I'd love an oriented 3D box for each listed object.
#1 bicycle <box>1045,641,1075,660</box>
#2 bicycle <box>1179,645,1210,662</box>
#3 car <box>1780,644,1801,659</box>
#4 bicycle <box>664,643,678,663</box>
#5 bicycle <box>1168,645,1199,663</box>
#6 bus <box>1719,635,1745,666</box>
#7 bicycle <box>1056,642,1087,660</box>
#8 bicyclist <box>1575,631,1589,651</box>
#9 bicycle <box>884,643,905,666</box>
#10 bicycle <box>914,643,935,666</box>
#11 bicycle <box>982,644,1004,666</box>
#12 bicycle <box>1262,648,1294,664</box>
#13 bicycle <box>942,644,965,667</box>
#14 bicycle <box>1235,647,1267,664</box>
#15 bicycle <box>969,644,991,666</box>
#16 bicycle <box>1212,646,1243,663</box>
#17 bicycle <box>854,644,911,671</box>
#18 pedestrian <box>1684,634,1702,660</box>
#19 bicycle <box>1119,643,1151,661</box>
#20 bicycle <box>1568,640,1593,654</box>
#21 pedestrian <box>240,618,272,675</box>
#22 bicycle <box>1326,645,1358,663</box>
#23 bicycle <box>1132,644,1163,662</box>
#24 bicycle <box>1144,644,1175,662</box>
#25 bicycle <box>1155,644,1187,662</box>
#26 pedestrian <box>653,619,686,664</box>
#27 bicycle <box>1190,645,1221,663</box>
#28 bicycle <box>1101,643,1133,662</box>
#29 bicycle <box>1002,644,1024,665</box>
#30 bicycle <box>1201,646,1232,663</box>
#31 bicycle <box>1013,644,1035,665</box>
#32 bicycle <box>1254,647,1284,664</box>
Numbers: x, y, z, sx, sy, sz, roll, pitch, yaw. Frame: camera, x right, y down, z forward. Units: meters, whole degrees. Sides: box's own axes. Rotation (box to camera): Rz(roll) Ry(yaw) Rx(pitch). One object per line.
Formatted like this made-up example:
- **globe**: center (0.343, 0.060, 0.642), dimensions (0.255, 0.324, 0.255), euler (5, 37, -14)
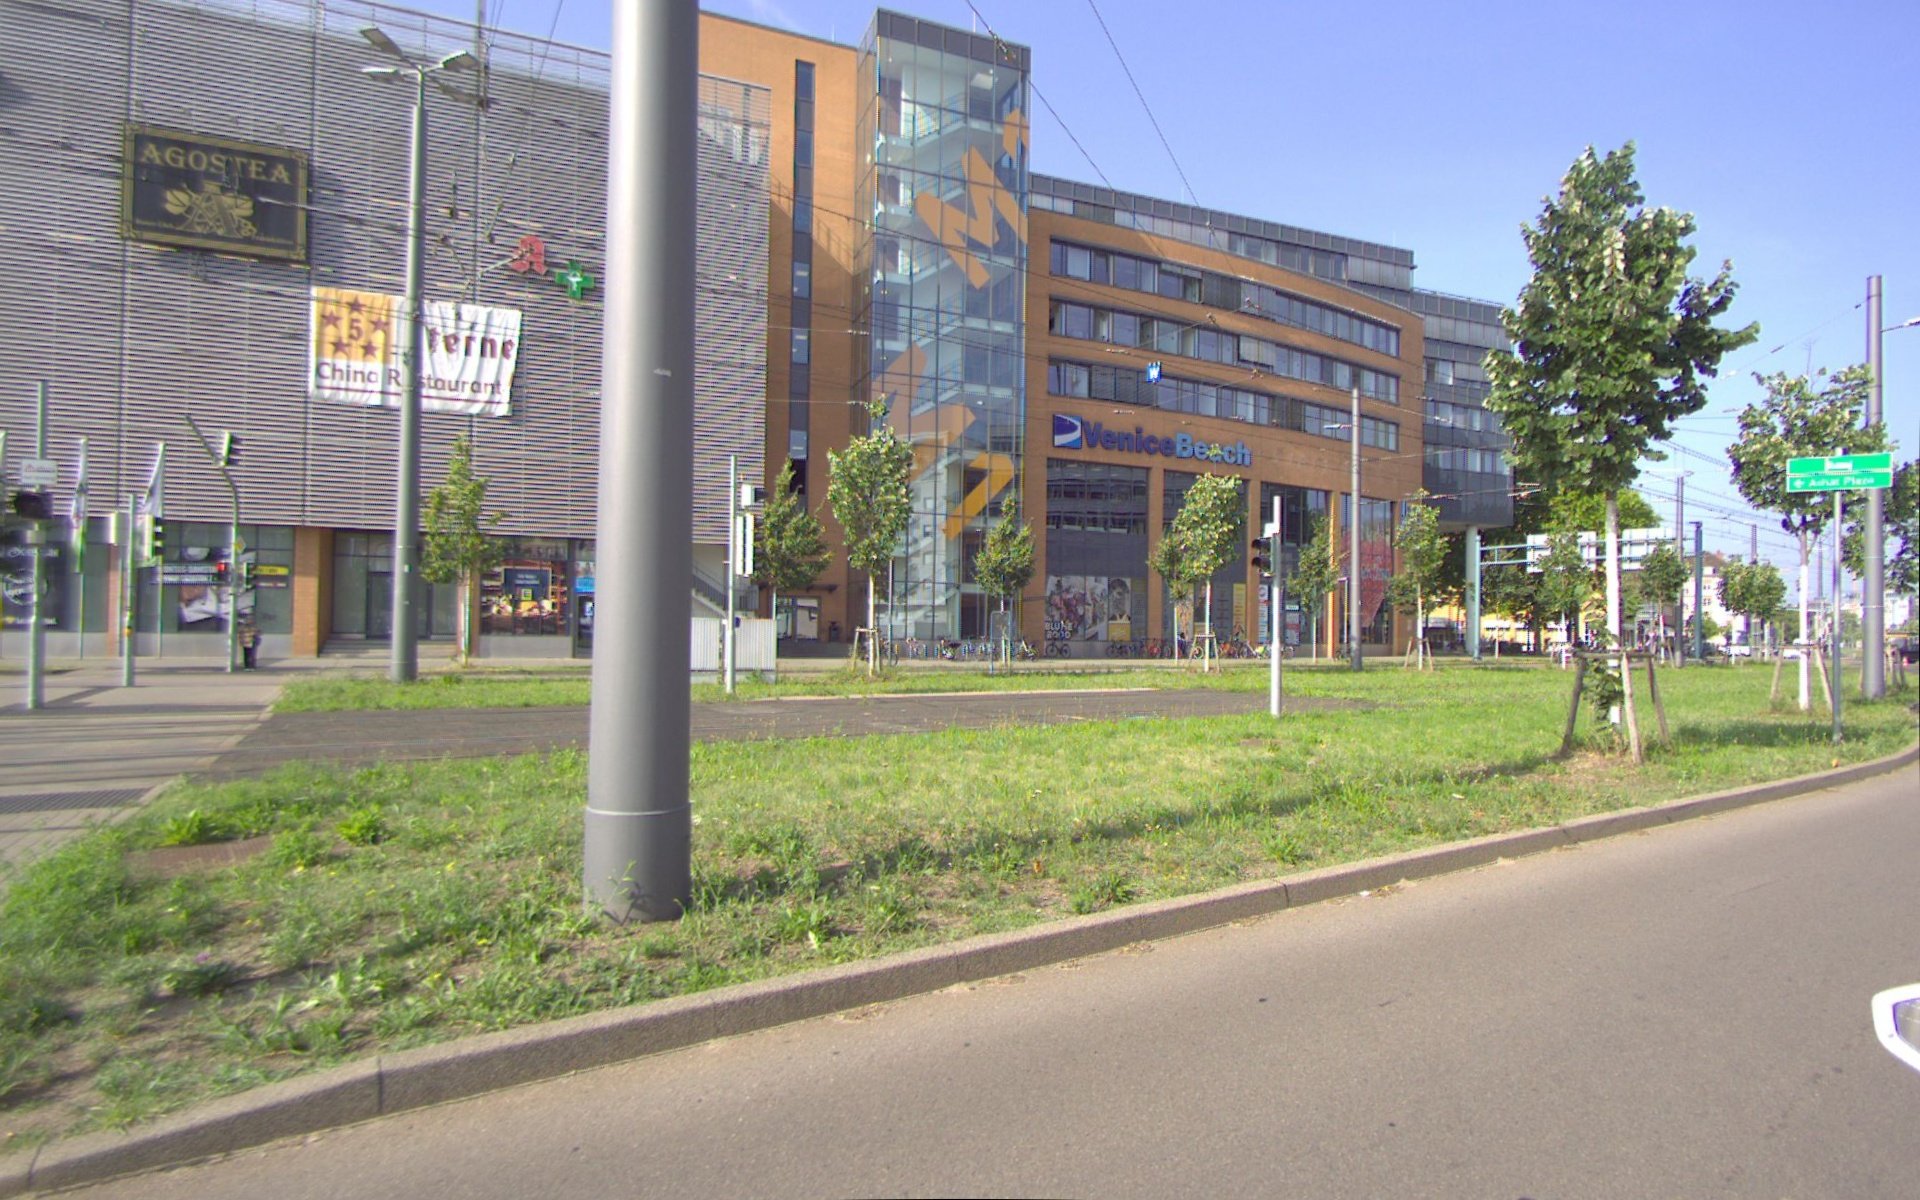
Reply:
- **bicycle**: center (5.203, 2.630, 52.379), dimensions (0.566, 0.933, 2.041), euler (2, -2, -27)
- **bicycle**: center (13.253, 3.033, 56.850), dimensions (0.566, 0.933, 2.041), euler (2, -2, -27)
- **car**: center (95.207, 5.872, 115.143), dimensions (1.711, 1.562, 3.428), euler (0, -4, 43)
- **bicycle**: center (-11.417, 2.108, 39.723), dimensions (0.445, 0.762, 1.001), euler (1, -1, -21)
- **bicycle**: center (12.540, 3.012, 56.378), dimensions (0.566, 0.933, 2.041), euler (2, -2, -27)
- **bus**: center (107.410, 7.049, 139.619), dimensions (2.713, 3.972, 12.169), euler (0, -3, 38)
- **bicycle**: center (5.831, 2.670, 52.746), dimensions (0.566, 0.933, 2.041), euler (2, -2, -27)
- **bicyclist**: center (56.490, 3.709, 91.237), dimensions (0.655, 1.769, 0.966), euler (2, -2, -9)
- **bicycle**: center (-2.825, 2.348, 43.334), dimensions (0.405, 0.952, 1.575), euler (1, -2, -22)
- **bicycle**: center (-1.585, 2.401, 44.533), dimensions (0.405, 0.952, 1.575), euler (1, -2, -22)
- **bicycle**: center (1.496, 2.508, 46.001), dimensions (0.405, 0.952, 1.575), euler (1, -2, -22)
- **bicycle**: center (18.997, 3.337, 60.127), dimensions (0.566, 0.933, 2.041), euler (2, -2, -27)
- **bicycle**: center (-0.290, 2.455, 44.400), dimensions (0.466, 0.952, 1.575), euler (1, -2, -22)
- **bicycle**: center (17.016, 3.242, 58.853), dimensions (0.566, 0.933, 2.041), euler (2, -2, -27)
- **bicycle**: center (0.899, 2.506, 45.826), dimensions (0.405, 0.952, 1.575), euler (1, -2, -22)
- **bicycle**: center (15.492, 3.152, 58.212), dimensions (0.566, 0.933, 2.041), euler (2, -2, -27)
- **bicycle**: center (-3.025, 2.238, 39.061), dimensions (2.127, 1.001, 0.444), euler (3, -2, -13)
- **pedestrian**: center (58.099, 3.745, 79.596), dimensions (1.141, 2.040, 0.773), euler (0, -3, 39)
- **bicycle**: center (9.516, 2.826, 54.676), dimensions (0.566, 0.933, 2.041), euler (2, -2, -27)
- **bicycle**: center (56.435, 4.270, 91.391), dimensions (0.540, 1.222, 2.284), euler (2, -3, -9)
- **pedestrian**: center (-20.084, 1.312, 28.672), dimensions (0.582, 1.600, 0.759), euler (1, -2, -26)
- **bicycle**: center (21.077, 2.980, 55.431), dimensions (0.700, 0.919, 1.671), euler (2, -2, -24)
- **bicycle**: center (10.284, 2.899, 55.090), dimensions (0.566, 0.933, 2.041), euler (2, -2, -27)
- **bicycle**: center (11.014, 2.905, 55.551), dimensions (0.566, 0.933, 2.041), euler (2, -2, -27)
- **bicycle**: center (11.743, 2.940, 55.949), dimensions (0.566, 0.933, 2.041), euler (2, -2, -27)
- **pedestrian**: center (-11.286, 1.615, 39.025), dimensions (1.159, 1.741, 0.816), euler (1, -1, -22)
- **bicycle**: center (13.992, 3.080, 57.266), dimensions (0.566, 0.933, 2.041), euler (2, -2, -27)
- **bicycle**: center (8.432, 2.825, 54.025), dimensions (0.566, 0.933, 2.041), euler (2, -2, -27)
- **bicycle**: center (2.475, 2.582, 47.370), dimensions (0.405, 0.952, 1.576), euler (1, -2, -22)
- **bicycle**: center (14.733, 3.121, 57.744), dimensions (0.566, 0.933, 2.041), euler (2, -2, -27)
- **bicycle**: center (3.028, 2.605, 47.808), dimensions (0.405, 0.952, 1.575), euler (1, -2, -22)
- **bicycle**: center (18.375, 3.297, 59.749), dimensions (0.376, 0.933, 2.041), euler (1, -2, -27)
